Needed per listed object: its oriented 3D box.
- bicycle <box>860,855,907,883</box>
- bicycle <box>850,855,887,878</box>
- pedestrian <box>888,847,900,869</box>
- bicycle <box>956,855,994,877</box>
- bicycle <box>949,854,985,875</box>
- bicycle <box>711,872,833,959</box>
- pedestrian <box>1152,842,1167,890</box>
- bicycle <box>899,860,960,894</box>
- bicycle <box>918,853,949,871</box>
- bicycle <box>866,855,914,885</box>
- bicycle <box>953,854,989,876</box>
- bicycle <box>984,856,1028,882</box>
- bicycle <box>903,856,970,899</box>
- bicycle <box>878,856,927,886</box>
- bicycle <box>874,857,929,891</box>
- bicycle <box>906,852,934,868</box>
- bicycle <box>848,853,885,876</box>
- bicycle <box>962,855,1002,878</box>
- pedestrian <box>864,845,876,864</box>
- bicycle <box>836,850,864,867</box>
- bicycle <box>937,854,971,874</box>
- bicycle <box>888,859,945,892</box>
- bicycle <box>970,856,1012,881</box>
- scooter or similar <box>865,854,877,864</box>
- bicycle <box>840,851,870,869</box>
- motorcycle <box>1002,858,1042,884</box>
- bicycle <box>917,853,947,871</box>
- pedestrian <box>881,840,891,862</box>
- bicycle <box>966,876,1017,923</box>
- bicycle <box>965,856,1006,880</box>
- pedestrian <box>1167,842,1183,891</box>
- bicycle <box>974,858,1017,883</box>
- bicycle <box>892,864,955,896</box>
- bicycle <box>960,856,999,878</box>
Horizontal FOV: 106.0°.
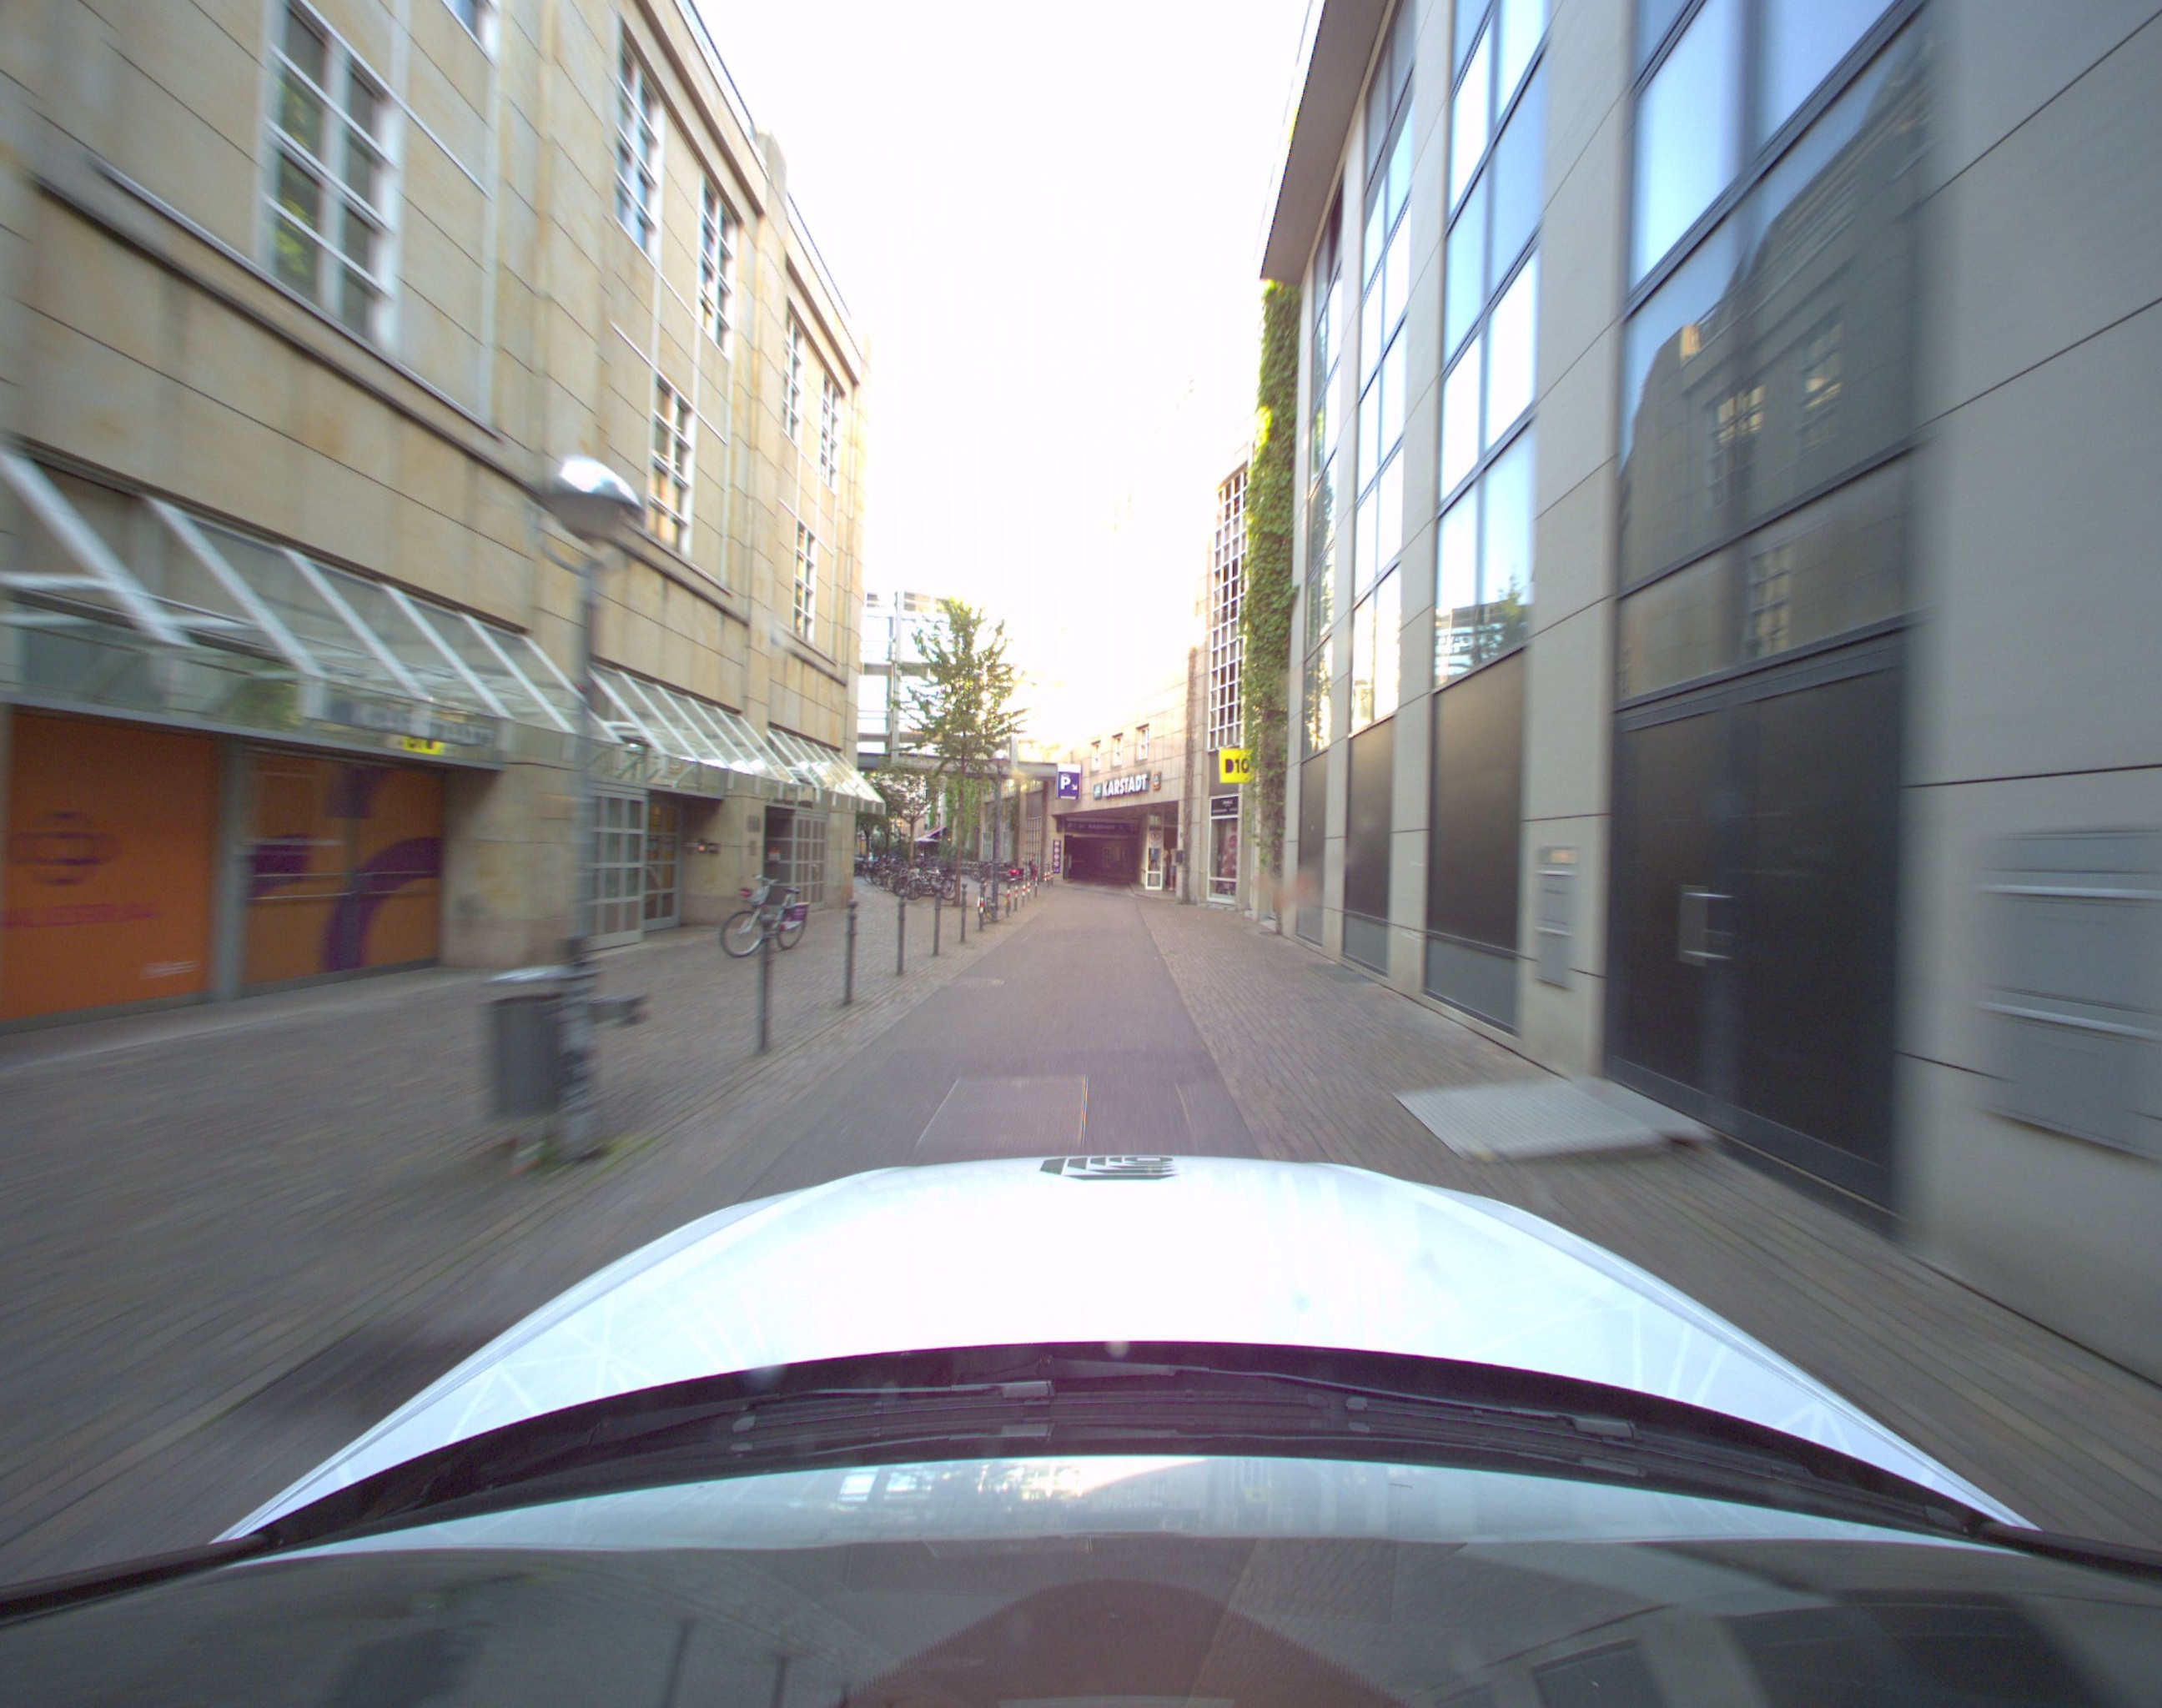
[{"bbox_3d":[-8.517,0.641,35.078,1.916,1.182,0.692,1,0,-15],"label":"bicycle"},{"bbox_3d":[-11.351,0.674,43.542,1.916,1.182,0.692,1,0,-15],"label":"bicycle"},{"bbox_3d":[-13.205,0.276,57.459,0.750,1.509,0.634,1,0,-20],"label":"pedestrian"},{"bbox_3d":[-5.902,0.663,45.201,1.999,1.182,0.690,-1,0,-18],"label":"bicycle"},{"bbox_3d":[-6.682,0.612,47.531,1.999,1.182,0.690,-1,0,-18],"label":"bicycle"},{"bbox_3d":[-4.434,0.840,11.828,0.688,1.112,1.784,1,0,17],"label":"bicycle"},{"bbox_3d":[3.063,0.471,31.805,0.539,1.846,0.409,1,1,8],"label":"pedestrian"},{"bbox_3d":[-5.094,0.785,27.432,1.918,1.101,0.692,1,0,-18],"label":"bicycle"},{"bbox_3d":[-10.079,0.564,55.640,1.999,1.182,0.690,-1,0,-18],"label":"bicycle"},{"bbox_3d":[-7.990,0.661,34.023,1.916,1.182,0.692,1,0,-15],"label":"bicycle"},{"bbox_3d":[-6.277,0.619,46.447,1.999,1.182,0.690,-1,0,-18],"label":"bicycle"},{"bbox_3d":[-3.580,0.715,38.944,1.999,1.182,0.692,-1,0,-18],"label":"bicycle"},{"bbox_3d":[-4.442,0.715,25.083,1.918,1.261,0.803,1,0,-18],"label":"bicycle"},{"bbox_3d":[-7.307,0.681,33.268,1.916,1.182,0.692,1,0,-15],"label":"bicycle"},{"bbox_3d":[-6.513,0.717,29.553,1.916,1.182,0.692,1,0,-15],"label":"bicycle"},{"bbox_3d":[-12.039,0.421,60.988,1.999,1.182,0.690,-1,0,-18],"label":"bicycle"},{"bbox_3d":[-11.680,0.566,44.358,1.916,1.182,0.692,1,0,-15],"label":"bicycle"},{"bbox_3d":[-5.287,0.671,43.315,1.999,1.182,0.798,-1,0,-18],"label":"bicycle"},{"bbox_3d":[-18.254,0.035,70.391,0.894,1.639,0.905,1,0,-20],"label":"pedestrian"},{"bbox_3d":[-16.741,0.320,59.163,1.916,1.182,0.692,1,0,-15],"label":"bicycle"},{"bbox_3d":[-7.782,0.580,49.871,1.999,1.182,0.690,-1,0,-18],"label":"bicycle"},{"bbox_3d":[-5.781,0.750,28.635,1.916,1.101,0.692,1,0,-15],"label":"bicycle"},{"bbox_3d":[-4.495,0.725,40.707,1.999,1.182,0.798,-1,0,-18],"label":"bicycle"},{"bbox_3d":[-17.965,0.441,69.535,0.894,0.843,0.905,1,0,-20],"label":"scooter or similar"},{"bbox_3d":[-15.291,0.427,55.153,1.916,1.182,0.692,1,0,-15],"label":"bicycle"},{"bbox_3d":[-2.678,0.771,37.247,1.749,1.155,0.591,0,0,-15],"label":"motorcycle"},{"bbox_3d":[-10.323,0.544,56.456,1.999,1.182,0.690,-1,0,-18],"label":"bicycle"},{"bbox_3d":[-16.605,-0.244,69.306,0.767,1.804,0.772,1,0,-20],"label":"pedestrian"},{"bbox_3d":[-2.035,1.025,18.675,0.501,0.966,1.702,1,0,17],"label":"bicycle"},{"bbox_3d":[-4.904,0.706,41.851,1.999,1.182,0.798,-1,0,-18],"label":"bicycle"},{"bbox_3d":[3.641,0.490,31.554,0.539,1.861,0.409,1,1,8],"label":"pedestrian"},{"bbox_3d":[-4.183,0.784,39.801,1.999,1.182,0.692,-1,0,-18],"label":"bicycle"},{"bbox_3d":[-5.131,0.832,26.513,1.918,0.994,0.692,1,0,-18],"label":"bicycle"},{"bbox_3d":[-5.509,0.687,44.309,1.999,1.182,0.690,-1,0,-18],"label":"bicycle"}]
